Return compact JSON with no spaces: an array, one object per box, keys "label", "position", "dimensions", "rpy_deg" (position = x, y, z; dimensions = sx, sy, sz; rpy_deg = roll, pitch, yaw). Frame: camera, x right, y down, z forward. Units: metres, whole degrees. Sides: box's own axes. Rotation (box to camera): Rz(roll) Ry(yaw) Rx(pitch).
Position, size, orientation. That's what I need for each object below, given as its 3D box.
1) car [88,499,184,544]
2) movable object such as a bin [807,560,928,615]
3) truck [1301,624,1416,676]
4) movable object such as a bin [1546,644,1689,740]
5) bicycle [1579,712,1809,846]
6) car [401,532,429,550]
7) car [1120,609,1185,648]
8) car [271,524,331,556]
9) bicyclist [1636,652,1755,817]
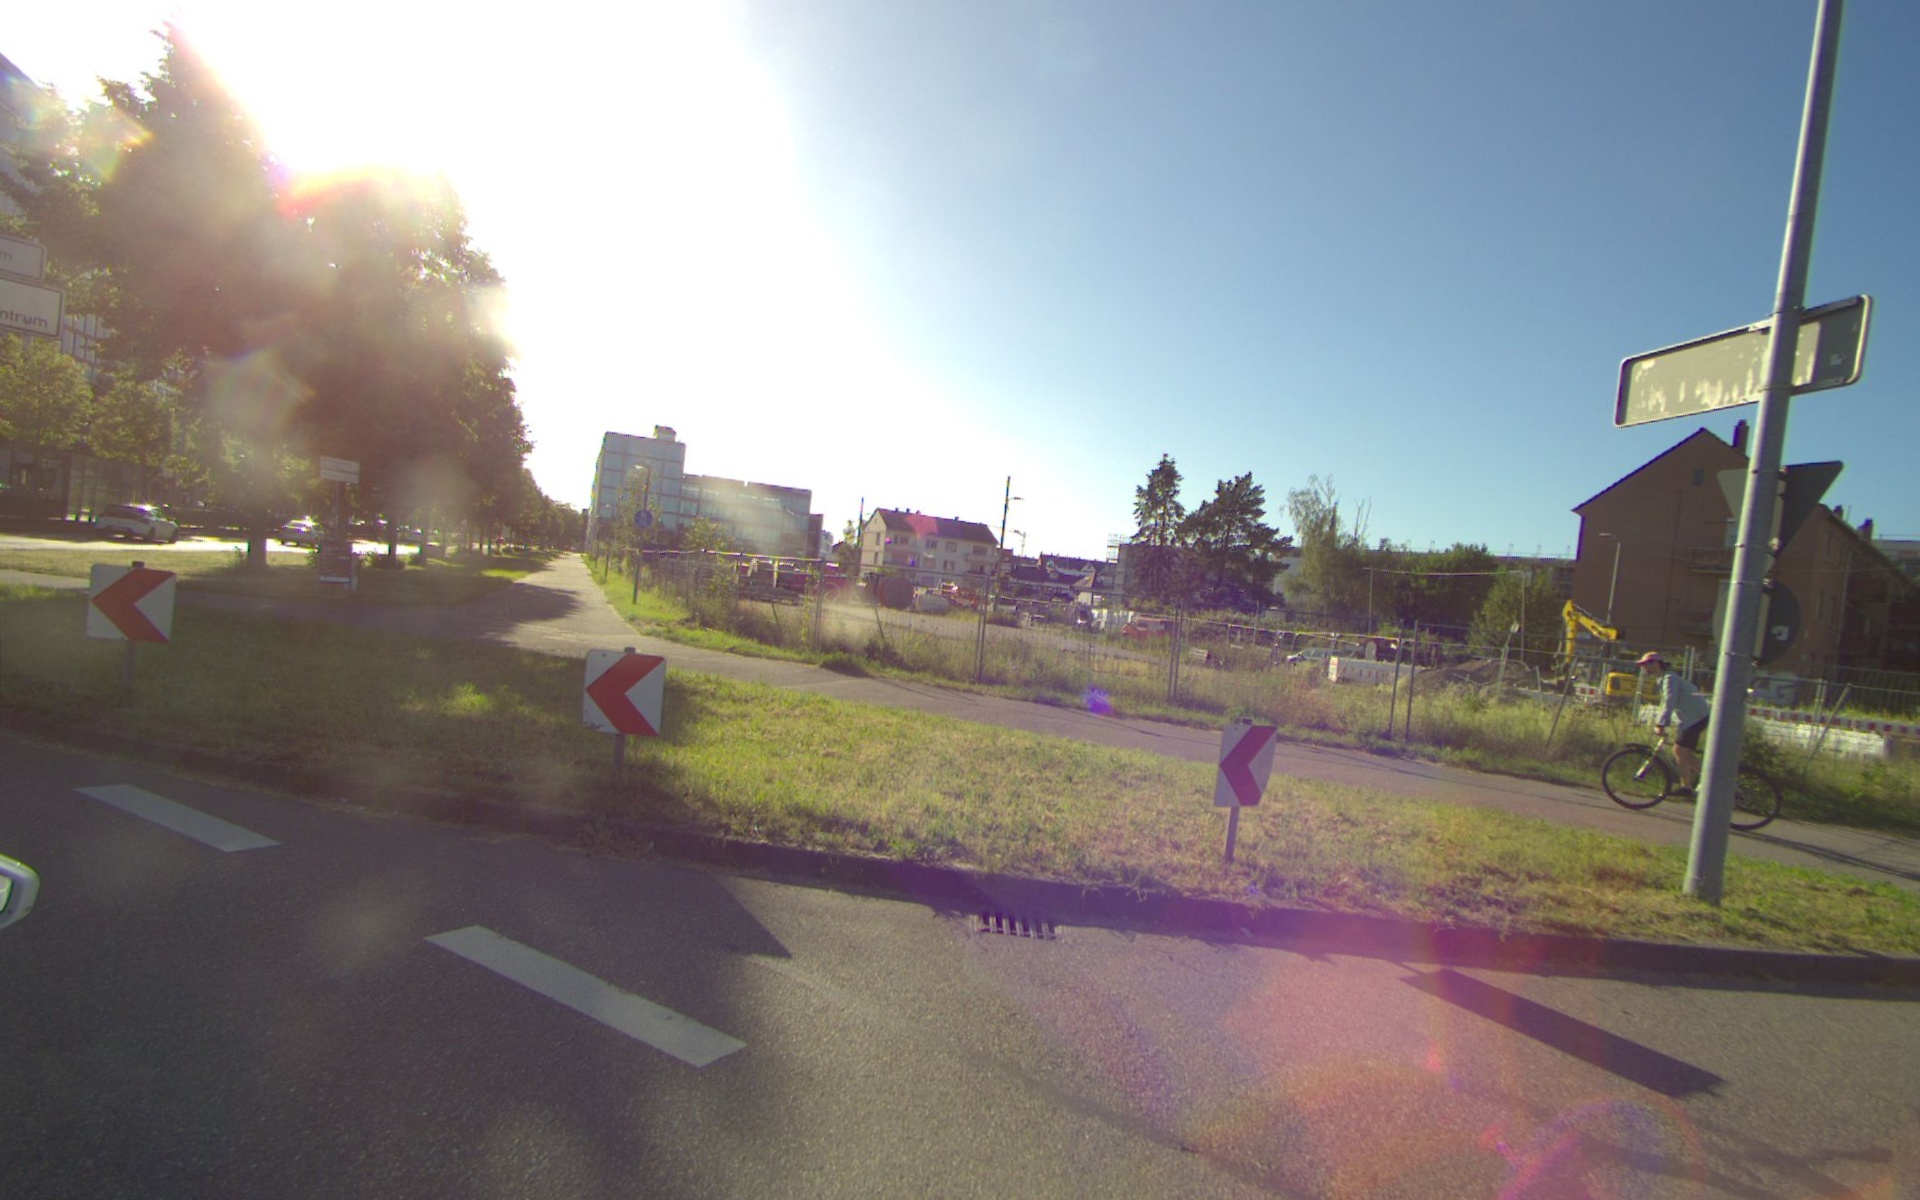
[{"label":"car","position":[-33.433,-3.144,40.931],"dimensions":[1.784,1.479,3.790],"rpy_deg":[8,0,-21]},{"label":"movable object such as a bin","position":[-6.539,-0.901,70.863],"dimensions":[7.817,2.818,2.930],"rpy_deg":[7,1,-19]},{"label":"truck","position":[22.102,2.742,56.190],"dimensions":[2.140,2.038,6.408],"rpy_deg":[8,0,-18]},{"label":"movable object such as a bin","position":[23.830,3.252,36.687],"dimensions":[2.382,2.807,4.000],"rpy_deg":[9,1,5]},{"label":"bicycle","position":[8.381,2.017,11.625],"dimensions":[1.977,1.042,0.740],"rpy_deg":[8,4,32]},{"label":"car","position":[-59.211,-6.413,109.375],"dimensions":[1.972,1.595,4.384],"rpy_deg":[6,1,-22]},{"label":"car","position":[13.339,1.967,69.845],"dimensions":[1.976,2.038,4.469],"rpy_deg":[8,1,-25]},{"label":"car","position":[-39.262,-3.561,60.020],"dimensions":[1.972,1.595,4.384],"rpy_deg":[6,1,-21]},{"label":"bicyclist","position":[8.432,1.506,11.575],"dimensions":[0.840,1.704,0.740],"rpy_deg":[8,4,32]}]
